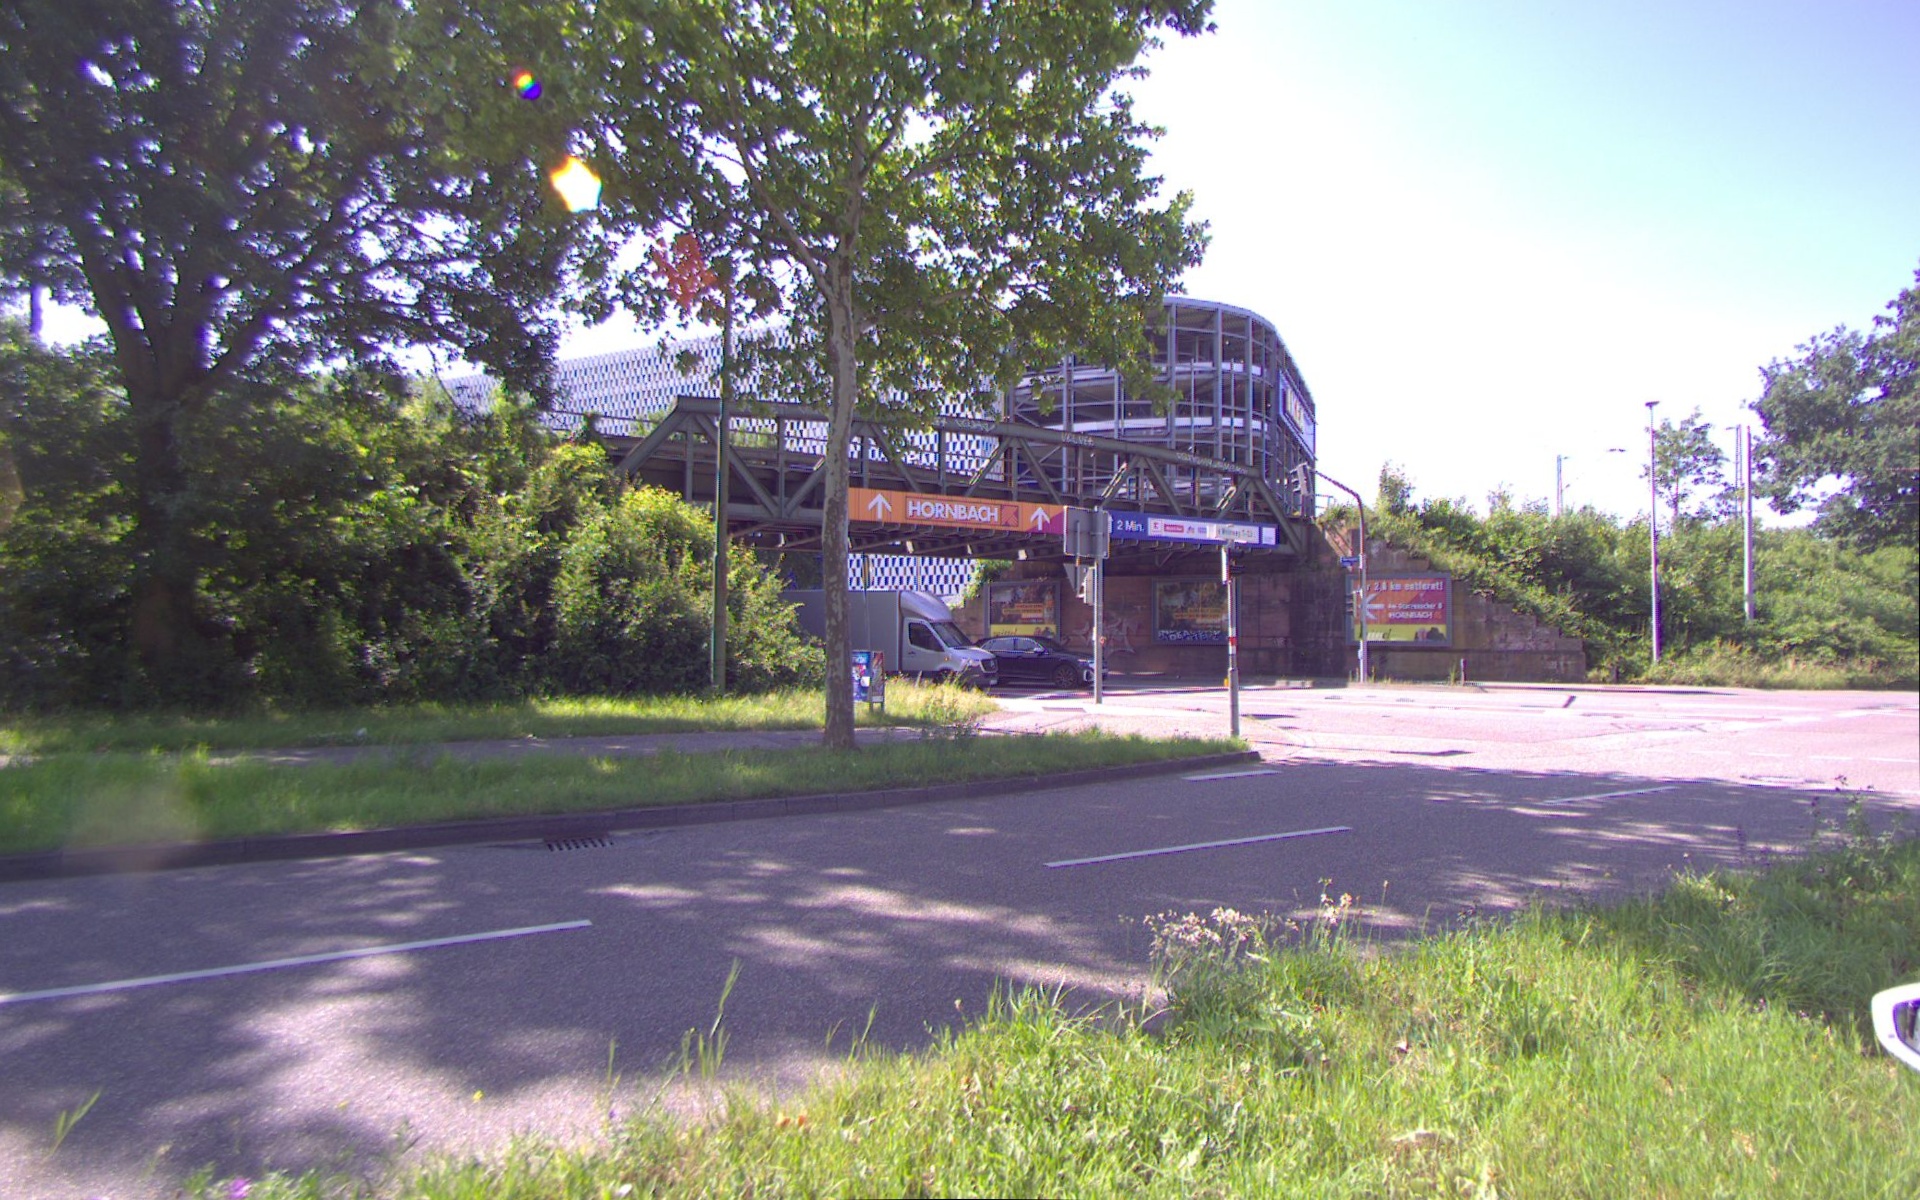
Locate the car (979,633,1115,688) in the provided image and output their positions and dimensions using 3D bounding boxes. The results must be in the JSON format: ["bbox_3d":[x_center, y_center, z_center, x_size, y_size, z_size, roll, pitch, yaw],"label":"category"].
[{"bbox_3d":[2.778,1.921,32.188,3.925,1.668,1.903,-2,-2,26],"label":"car"}]

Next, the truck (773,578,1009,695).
[{"bbox_3d":[-2.101,1.098,29.605,6.737,3.146,2.216,-2,-2,26],"label":"truck"}]
